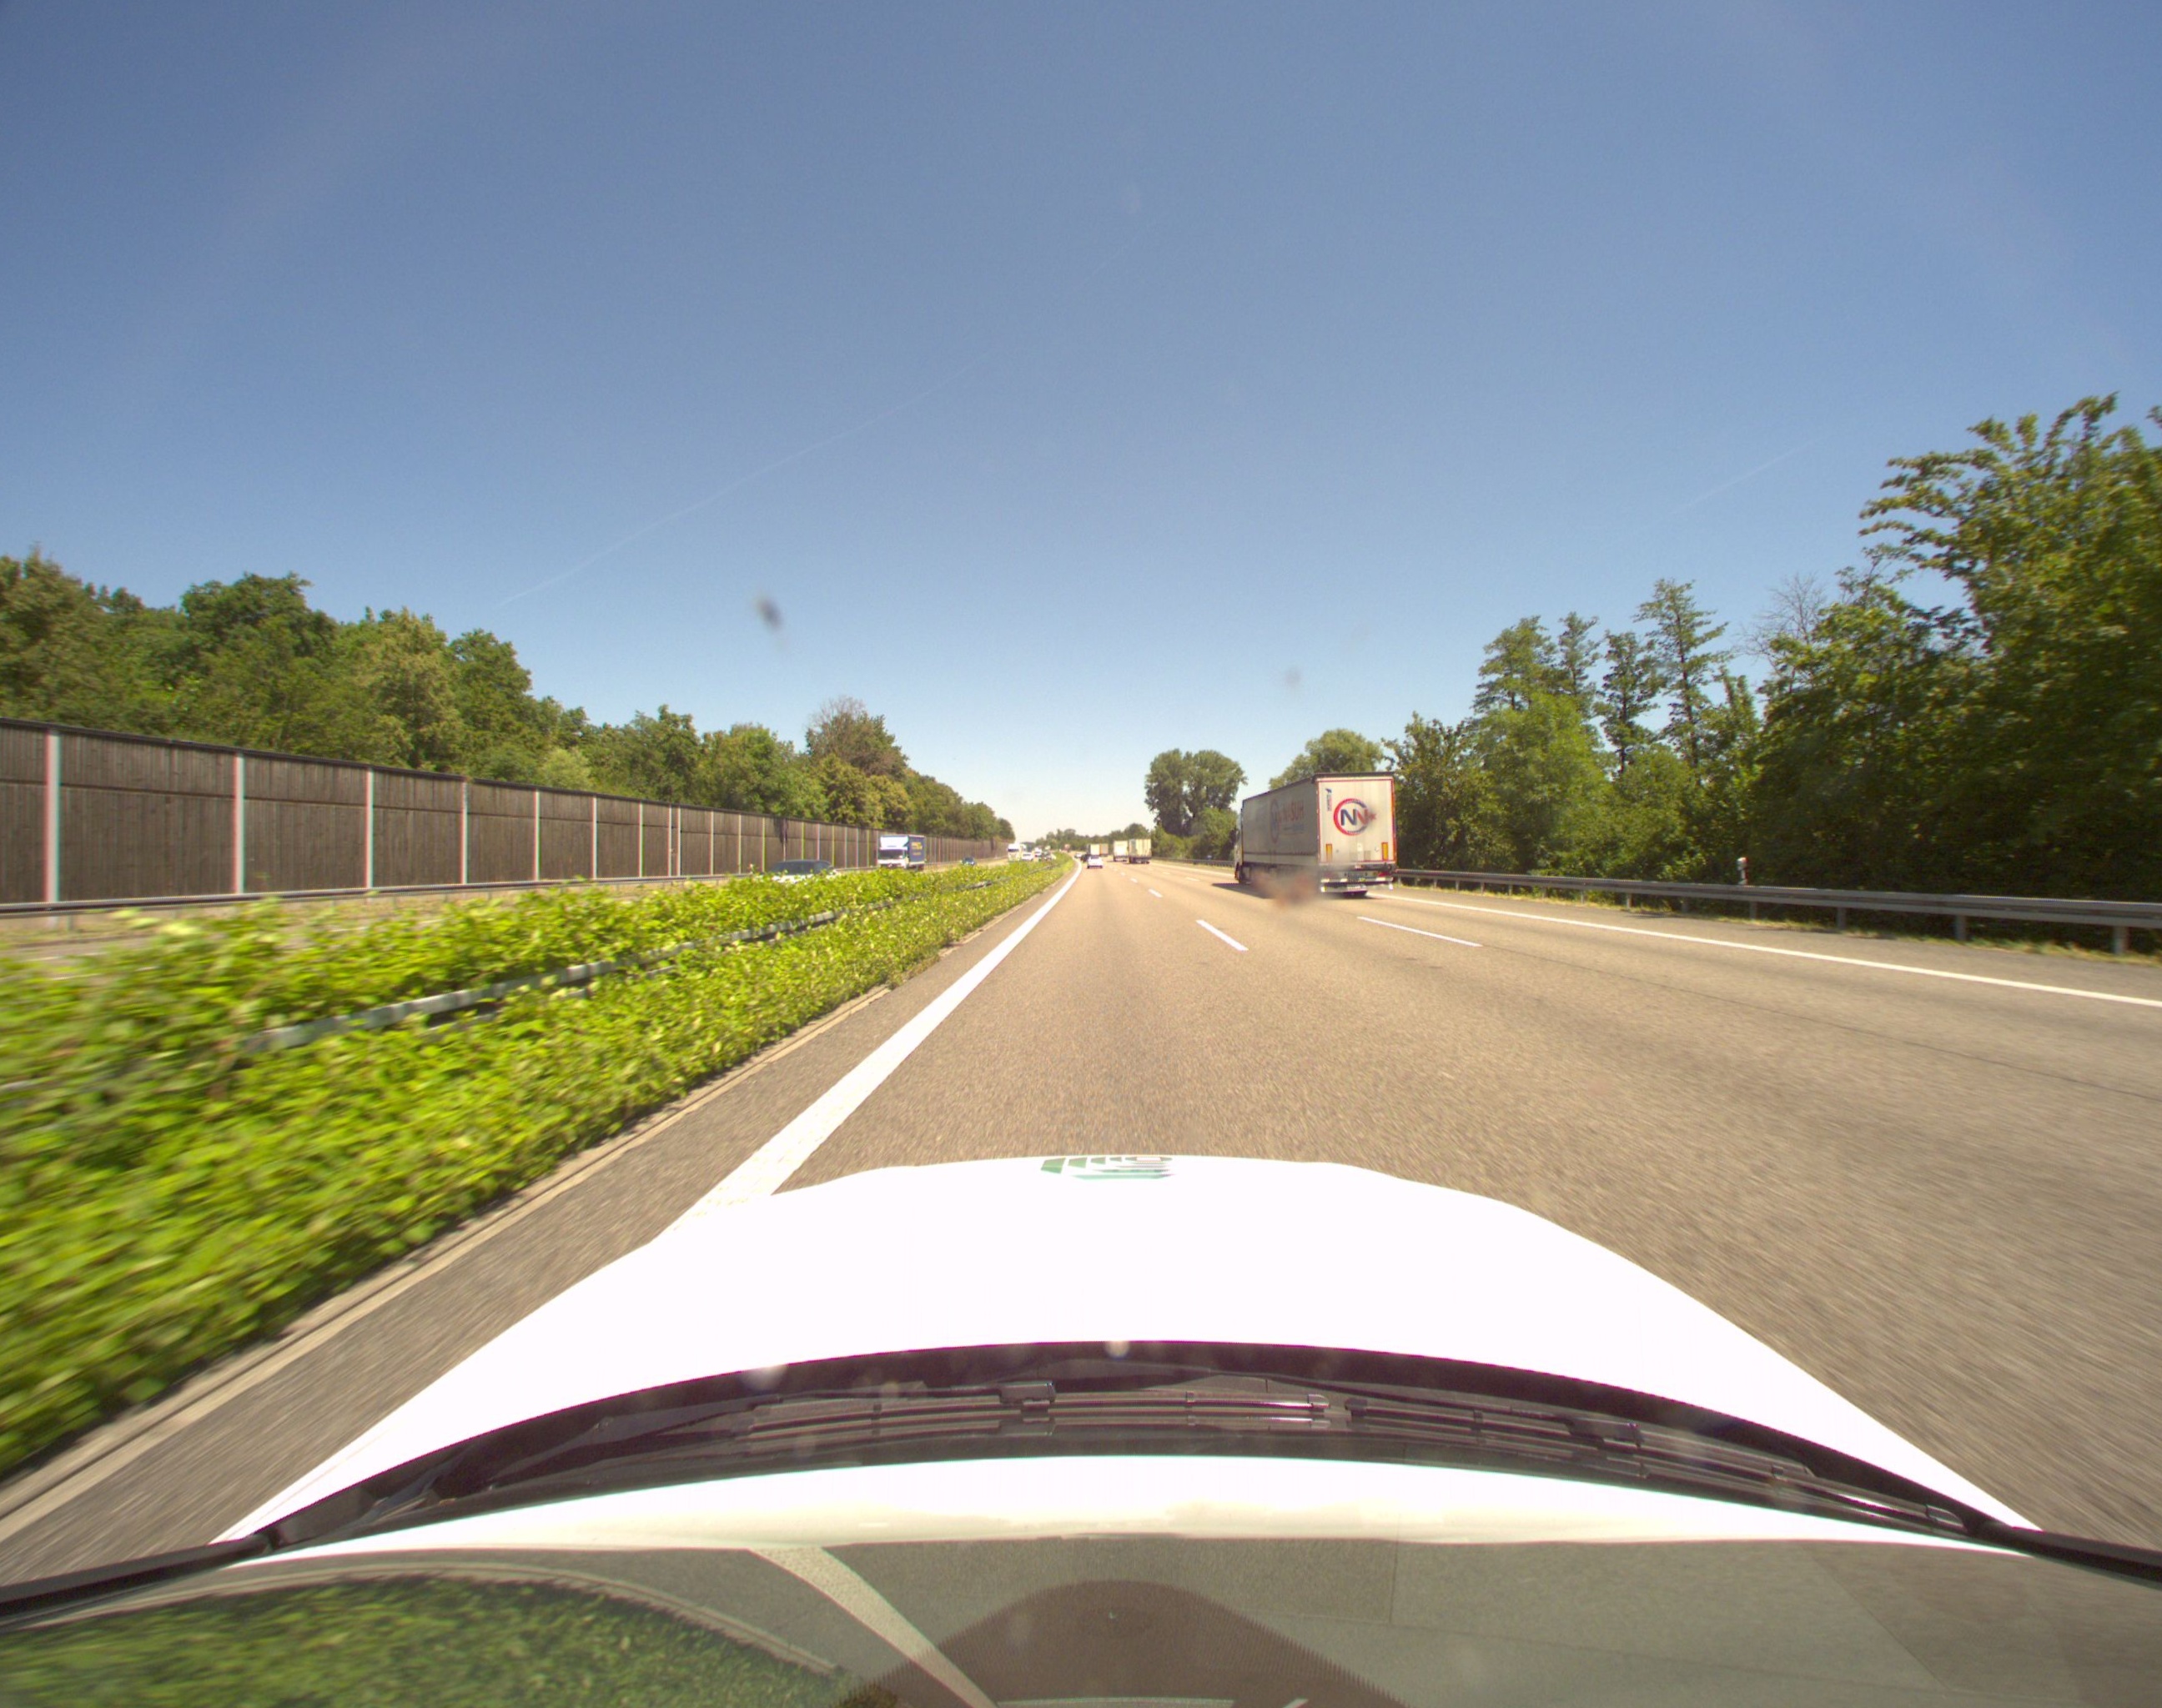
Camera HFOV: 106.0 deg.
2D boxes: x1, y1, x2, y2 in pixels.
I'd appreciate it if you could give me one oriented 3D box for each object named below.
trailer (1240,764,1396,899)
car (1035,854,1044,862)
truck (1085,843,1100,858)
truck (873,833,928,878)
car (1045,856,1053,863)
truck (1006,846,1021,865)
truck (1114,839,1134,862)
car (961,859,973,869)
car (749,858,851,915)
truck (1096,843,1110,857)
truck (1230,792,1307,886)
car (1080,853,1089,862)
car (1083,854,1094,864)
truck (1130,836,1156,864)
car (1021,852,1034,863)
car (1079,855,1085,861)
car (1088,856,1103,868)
[{"bbox_3d":[8.930,-0.676,33.002,2.614,4.261,14.066,-1,0,2],"label":"trailer"},{"bbox_3d":[-8.785,0.831,172.409,1.708,1.543,4.360,-1,0,-1],"label":"car"},{"bbox_3d":[3.376,-0.871,239.549,3.571,4.311,12.177,-1,0,-3],"label":"truck"},{"bbox_3d":[-15.628,0.139,71.025,2.824,3.609,8.743,-1,0,0],"label":"truck"},{"bbox_3d":[-8.016,1.444,206.465,1.760,1.651,4.038,-1,0,0],"label":"car"},{"bbox_3d":[-15.074,0.338,182.314,2.721,4.192,6.035,-1,0,0],"label":"truck"},{"bbox_3d":[8.517,-0.589,161.683,3.348,4.311,10.828,-1,0,0],"label":"truck"},{"bbox_3d":[-15.839,1.383,112.998,1.275,1.255,3.027,-1,0,-1],"label":"car"},{"bbox_3d":[-8.493,0.930,24.947,1.577,1.588,4.002,-1,0,2],"label":"car"},{"bbox_3d":[7.029,-1.236,263.566,3.822,4.311,11.540,-1,0,-3],"label":"truck"},{"bbox_3d":[9.121,-0.660,40.102,2.596,4.287,5.436,-1,0,1],"label":"truck"},{"bbox_3d":[0.766,0.799,183.146,1.987,2.013,3.999,-1,0,0],"label":"car"},{"bbox_3d":[1.403,0.947,152.624,1.988,1.772,3.998,-1,0,-1],"label":"car"},{"bbox_3d":[9.855,-0.551,131.094,3.481,4.311,10.988,-1,0,0],"label":"truck"},{"bbox_3d":[-9.599,0.569,147.287,1.920,1.945,4.609,-1,0,0],"label":"car"},{"bbox_3d":[0.164,1.091,230.937,1.718,1.783,3.999,-1,0,0],"label":"car"},{"bbox_3d":[1.726,0.942,97.699,1.708,1.369,3.377,-1,0,2],"label":"car"}]
